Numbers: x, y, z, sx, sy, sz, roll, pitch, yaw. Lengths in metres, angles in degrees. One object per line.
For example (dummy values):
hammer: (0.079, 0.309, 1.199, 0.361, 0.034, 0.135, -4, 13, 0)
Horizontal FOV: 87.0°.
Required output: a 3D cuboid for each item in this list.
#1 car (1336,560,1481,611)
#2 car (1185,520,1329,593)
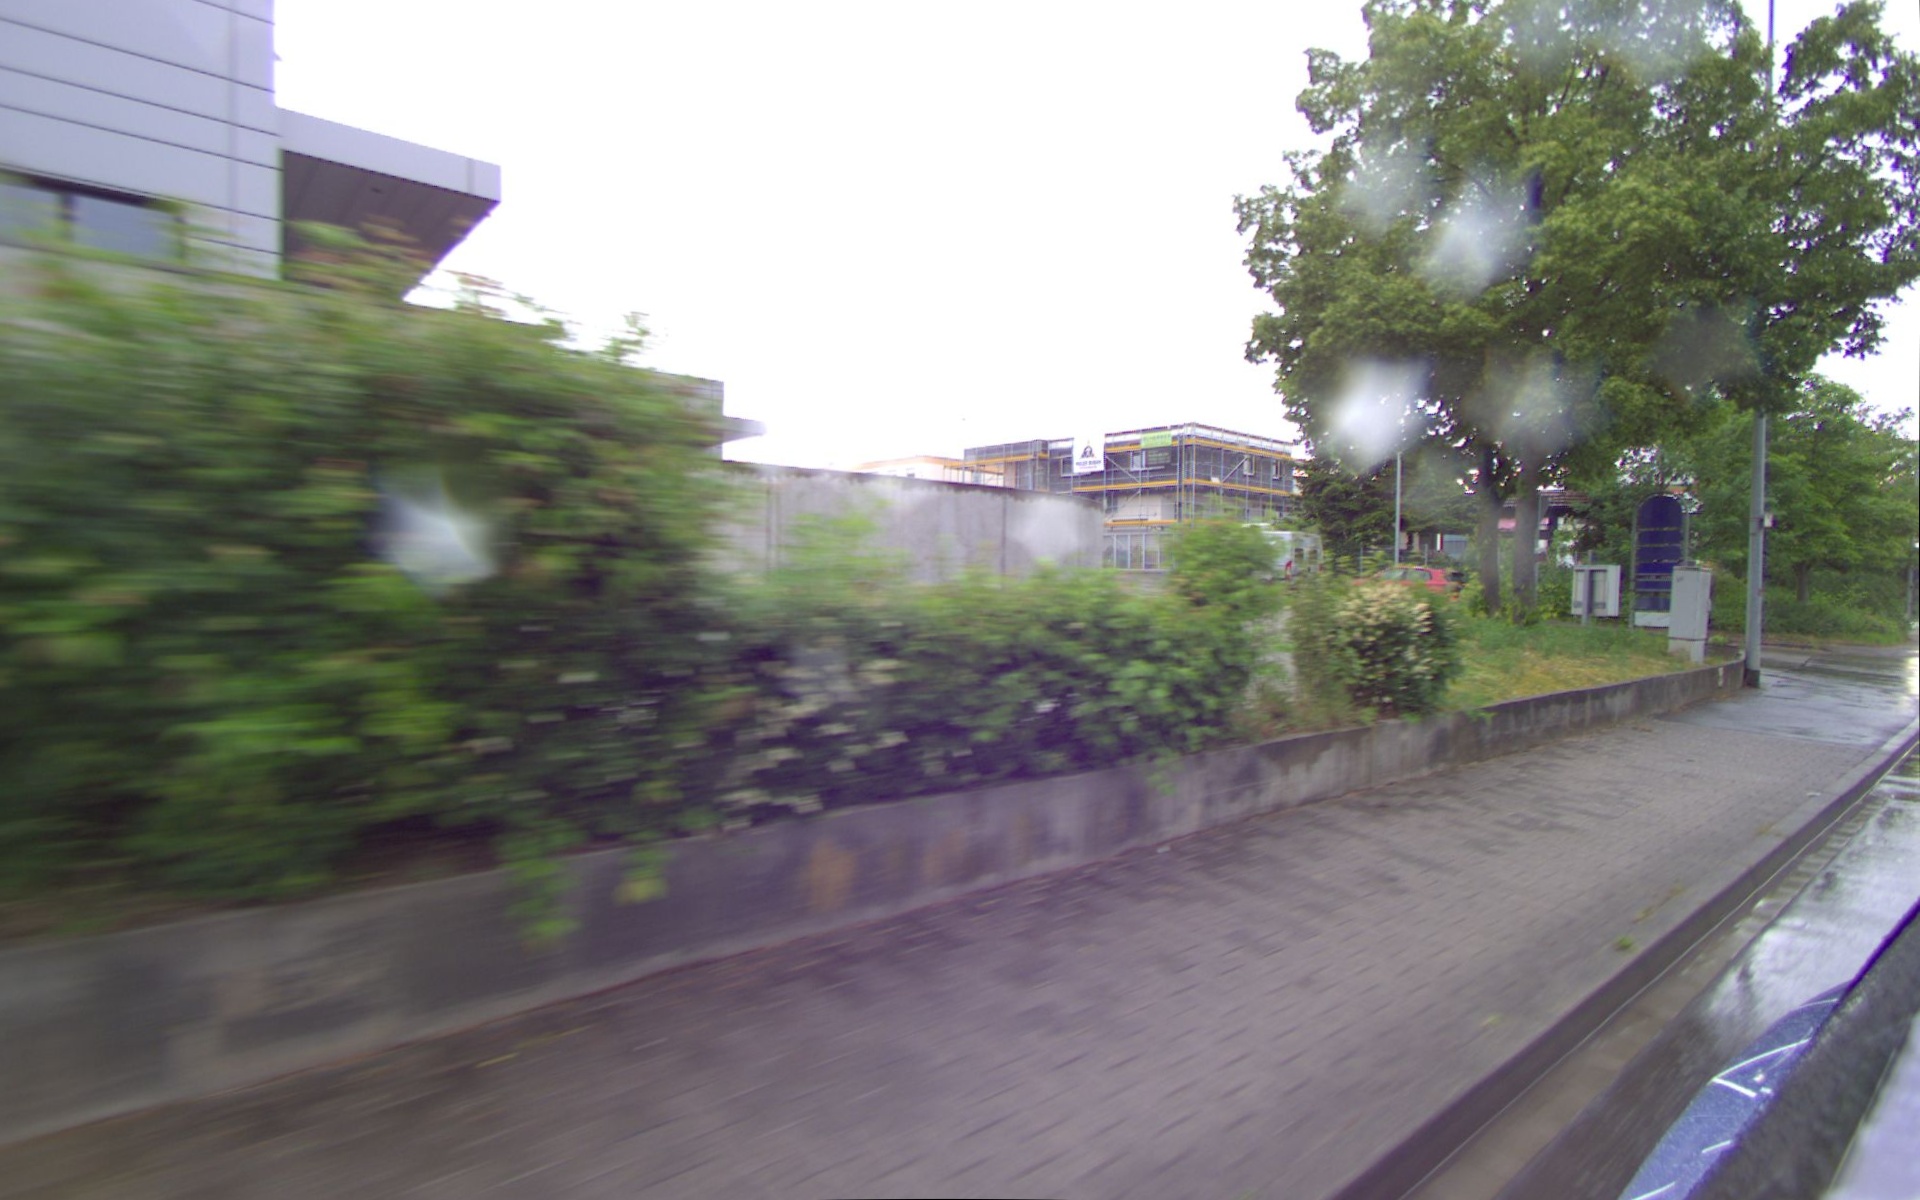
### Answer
car: (14.411, -0.496, 32.675, 1.737, 1.517, 3.887, 1, 1, -41)
car: (10.819, -1.564, 37.239, 1.961, 2.468, 4.921, 1, 1, -34)
